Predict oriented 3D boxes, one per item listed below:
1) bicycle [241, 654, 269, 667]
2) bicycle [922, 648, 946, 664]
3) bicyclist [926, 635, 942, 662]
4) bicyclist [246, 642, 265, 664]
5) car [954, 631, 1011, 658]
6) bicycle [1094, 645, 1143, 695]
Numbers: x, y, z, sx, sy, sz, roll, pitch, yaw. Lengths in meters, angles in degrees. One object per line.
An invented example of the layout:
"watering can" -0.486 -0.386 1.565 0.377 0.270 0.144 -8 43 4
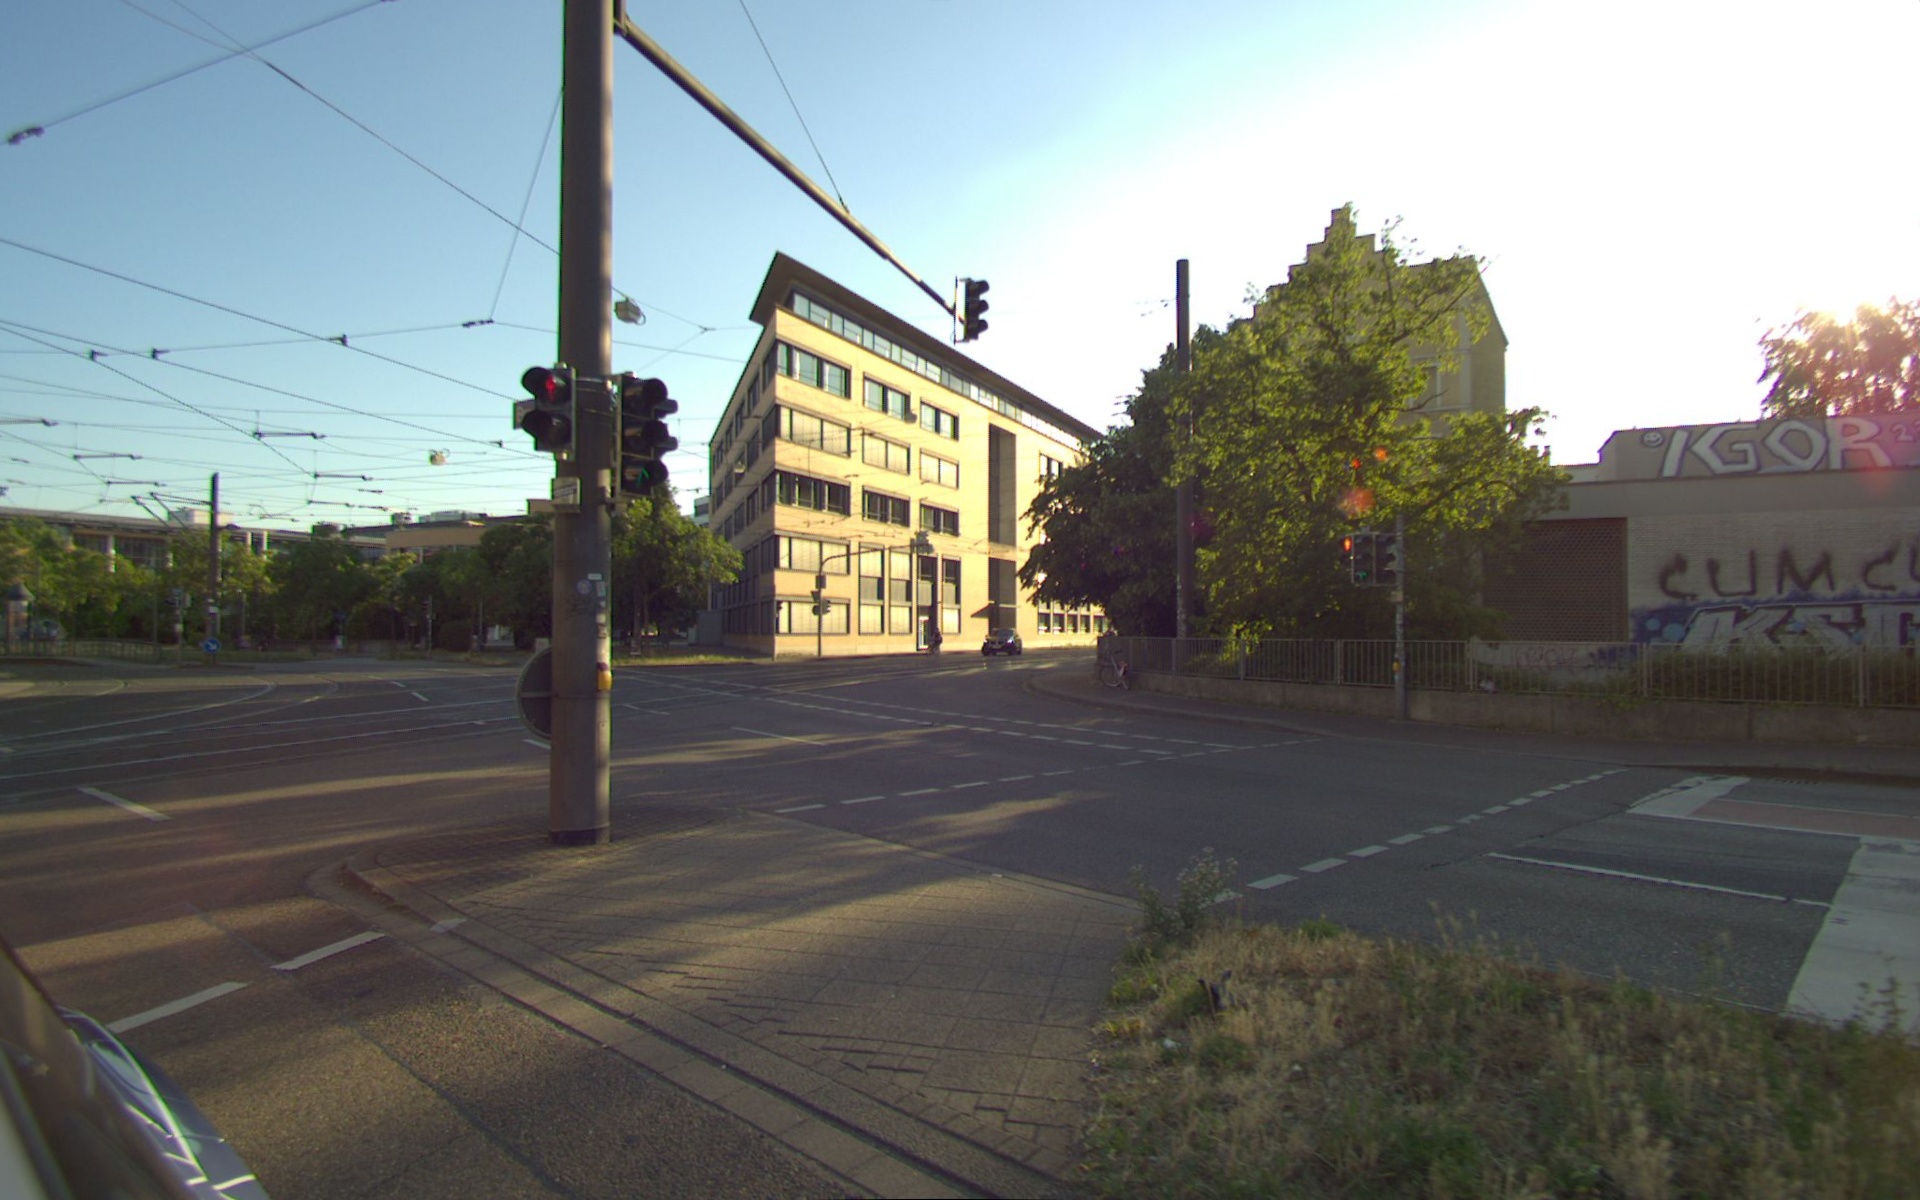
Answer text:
"bicycle" -47.540 4.075 68.222 1.958 0.827 0.769 -2 -2 30
"bicycle" -1.488 3.178 57.417 0.655 0.839 1.676 -1 -2 27
"bicyclist" -1.466 2.750 57.475 0.664 1.464 0.737 -2 -2 27
"bicyclist" -47.505 3.587 68.201 0.824 1.479 0.763 -2 -2 29
"car" 1.354 2.531 58.489 1.987 1.497 3.969 -1 -2 23
"bicycle" 3.913 1.716 25.117 0.549 1.151 1.727 0 -2 -15
